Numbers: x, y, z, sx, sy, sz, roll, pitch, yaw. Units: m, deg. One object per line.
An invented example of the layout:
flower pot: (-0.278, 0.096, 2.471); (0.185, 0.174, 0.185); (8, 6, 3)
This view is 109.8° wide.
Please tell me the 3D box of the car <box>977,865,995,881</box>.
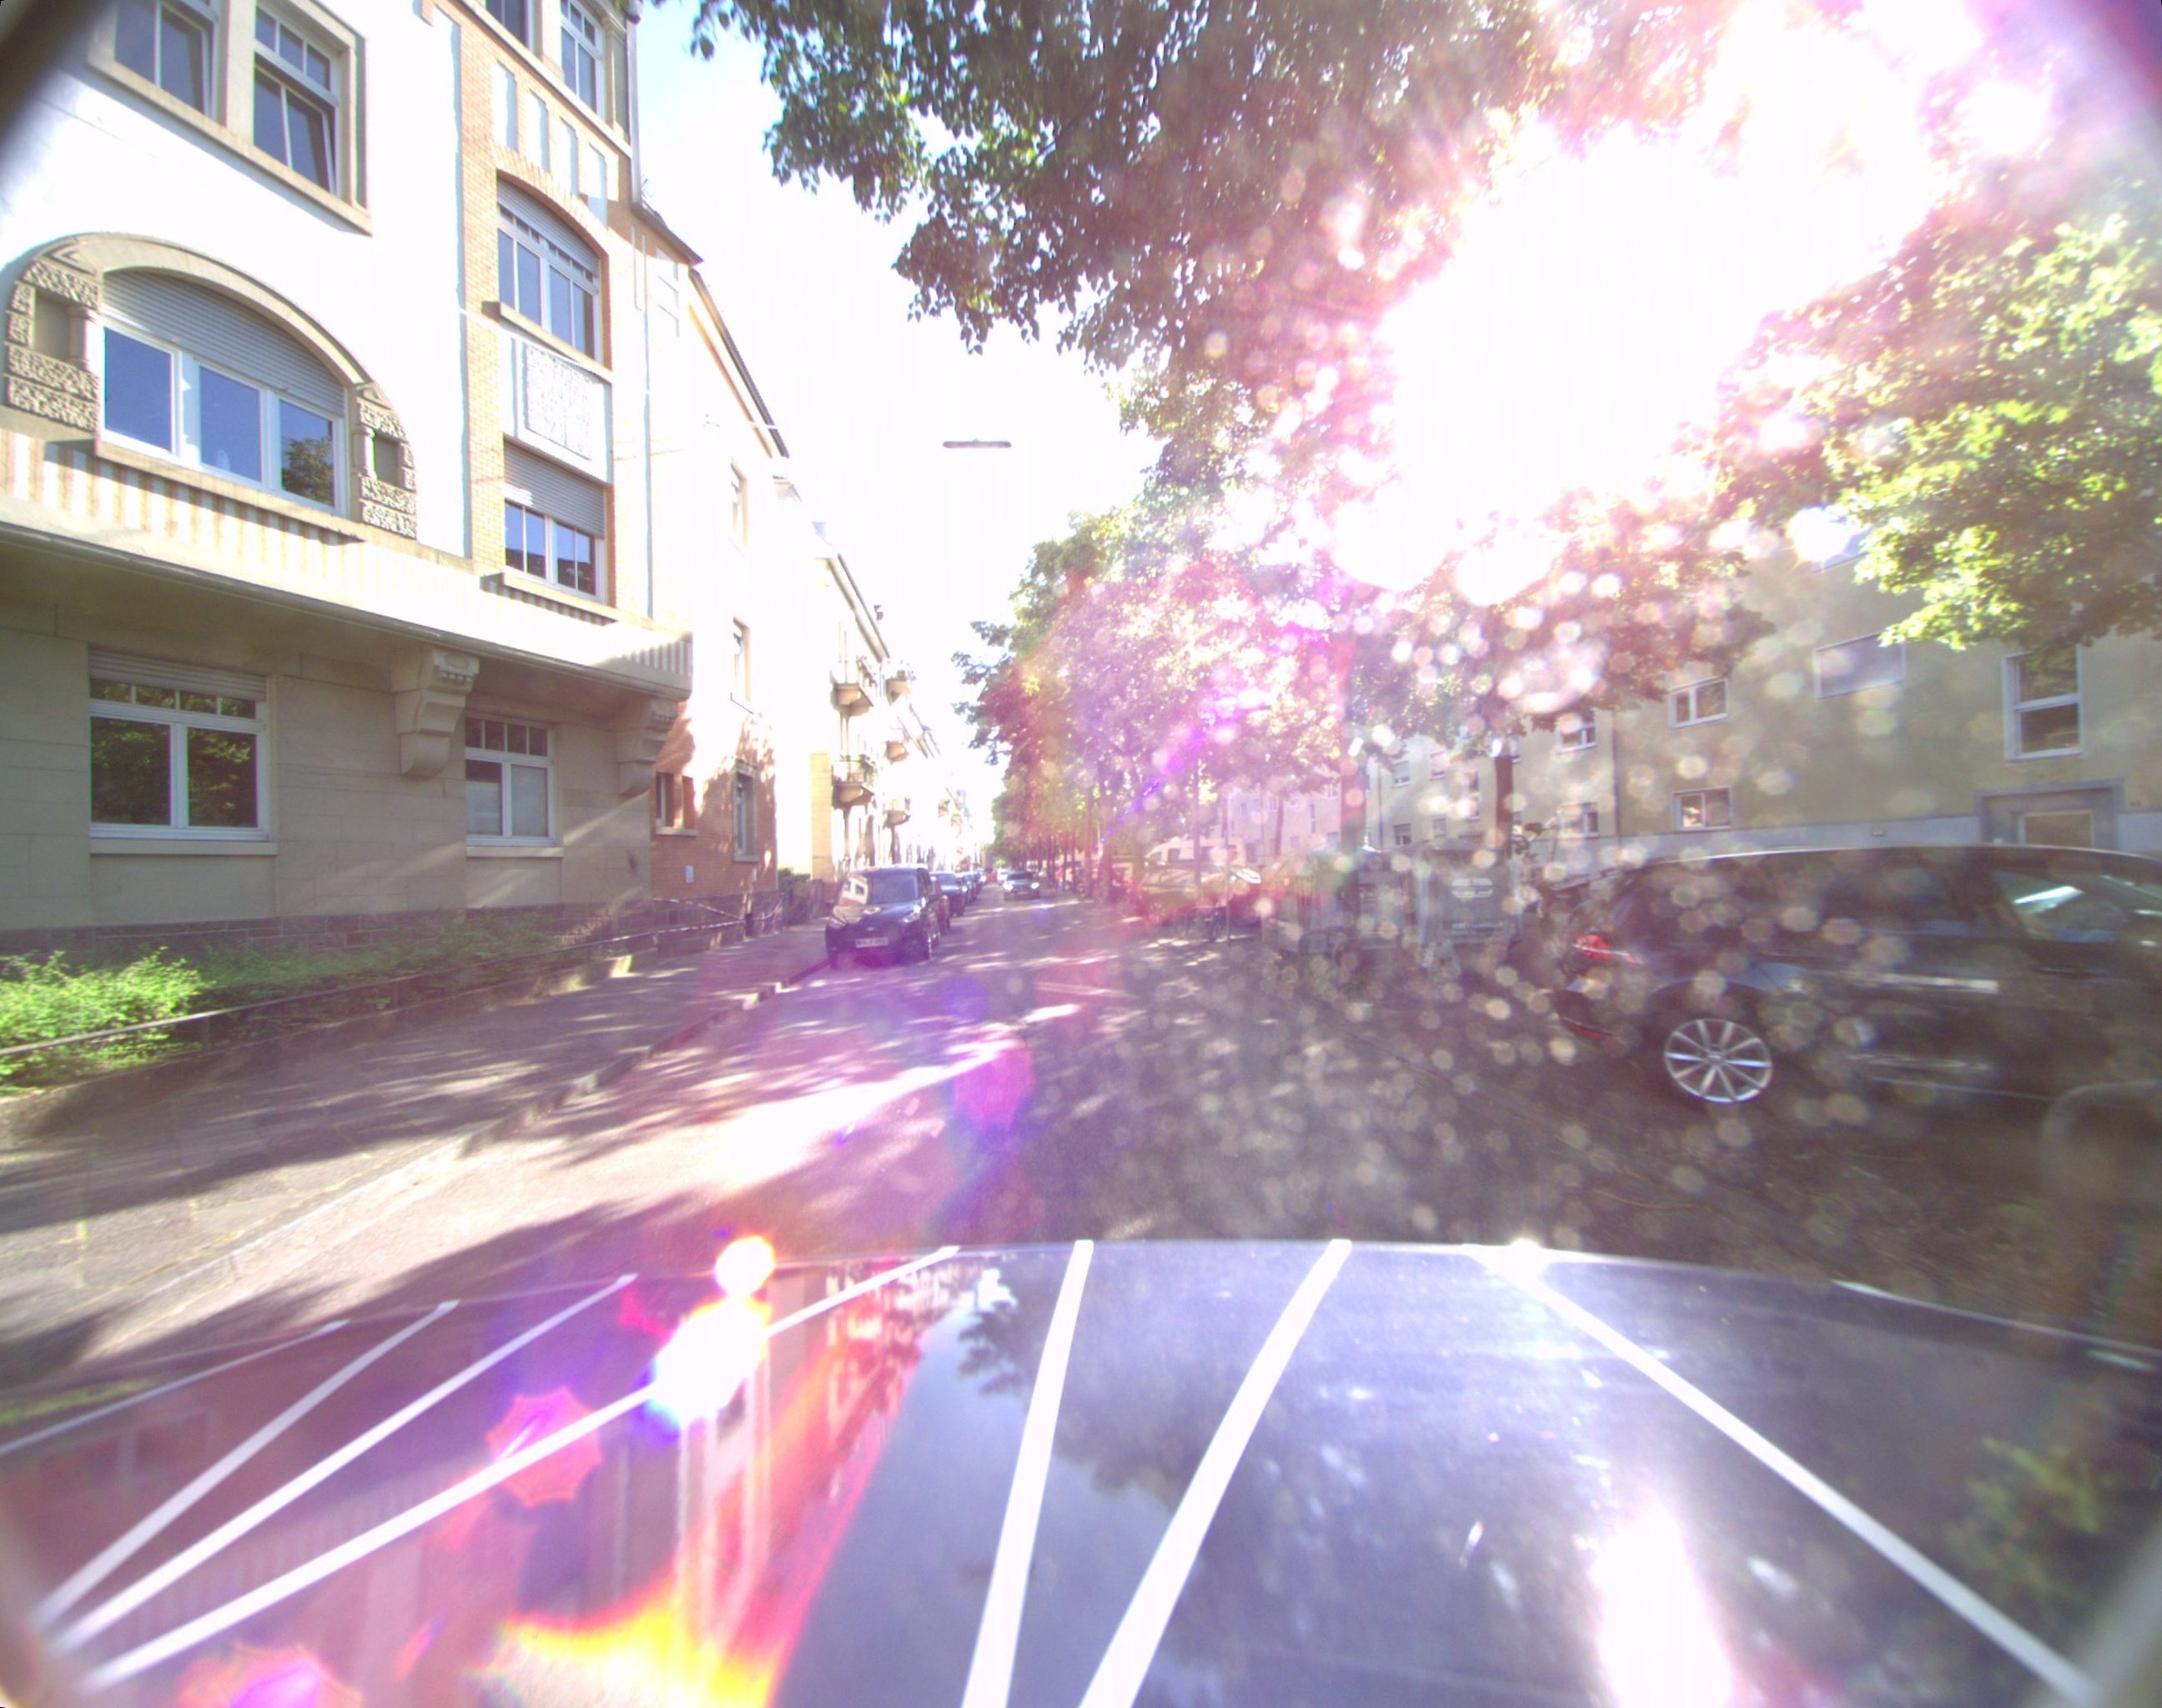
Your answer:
car: (-9.630, 1.912, 77.255); (1.604, 1.484, 3.965); (0, 0, -5)

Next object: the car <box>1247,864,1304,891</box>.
car: (11.808, 1.393, 46.402); (1.898, 1.556, 4.158); (0, -1, -8)

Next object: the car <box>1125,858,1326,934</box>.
car: (3.272, 0.921, 17.514); (4.143, 1.545, 1.837); (-2, 0, 35)

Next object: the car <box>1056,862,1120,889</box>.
car: (0.459, 1.400, 49.573); (3.687, 1.586, 1.775); (-3, 0, 19)

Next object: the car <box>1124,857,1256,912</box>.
car: (3.419, 0.953, 23.915); (3.729, 1.572, 1.639); (-2, 0, 25)

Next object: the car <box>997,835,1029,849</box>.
car: (-9.606, -1.646, 107.297); (4.092, 1.516, 1.705); (-6, -2, 24)

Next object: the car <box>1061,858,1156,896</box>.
car: (1.341, 1.129, 37.293); (4.266, 1.632, 1.658); (-4, 0, 26)

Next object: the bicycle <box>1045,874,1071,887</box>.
bicycle: (-1.790, 2.031, 58.991); (1.901, 0.913, 0.379); (-3, 0, 13)

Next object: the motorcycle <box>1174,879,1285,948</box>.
motorcycle: (2.711, 1.065, 13.909); (1.946, 1.164, 0.518); (-1, 0, -16)

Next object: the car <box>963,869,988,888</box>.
car: (-8.572, 1.964, 61.973); (1.775, 1.423, 4.289); (-2, -1, -6)

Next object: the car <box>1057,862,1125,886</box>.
car: (0.762, 1.450, 55.983); (4.633, 1.477, 1.758); (-3, 0, -21)

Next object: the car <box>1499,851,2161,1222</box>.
car: (4.690, 0.776, 4.048); (4.131, 1.473, 1.779); (-2, 1, 34)

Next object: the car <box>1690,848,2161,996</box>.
car: (9.433, 0.713, 8.470); (3.795, 1.457, 1.646); (-1, 0, 8)

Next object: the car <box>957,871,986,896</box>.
car: (-7.303, 1.929, 50.941); (1.697, 1.459, 4.003); (-3, 0, -6)

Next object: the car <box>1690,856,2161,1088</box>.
car: (7.065, 0.740, 5.451); (3.989, 1.394, 1.790); (-2, -1, 31)

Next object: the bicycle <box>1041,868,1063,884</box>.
bicycle: (-2.326, 1.750, 60.591); (1.688, 1.152, 0.379); (-3, 0, 13)

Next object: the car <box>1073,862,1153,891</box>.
car: (1.802, 1.267, 42.719); (4.099, 1.473, 1.735); (-2, 0, 25)

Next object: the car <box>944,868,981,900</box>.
car: (-6.298, 1.555, 40.810); (1.811, 1.554, 4.318); (-1, -1, -7)

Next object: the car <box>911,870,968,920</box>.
car: (-5.261, 1.477, 28.762); (1.870, 1.634, 4.488); (-3, 0, -9)

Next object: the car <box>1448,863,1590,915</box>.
car: (14.078, 1.077, 24.737); (1.779, 1.485, 4.143); (-2, 0, -8)

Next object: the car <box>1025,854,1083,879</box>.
car: (-3.180, 1.483, 89.607); (6.313, 2.543, 2.342); (-3, 0, 26)

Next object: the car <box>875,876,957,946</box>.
car: (-4.382, 1.450, 20.683); (1.650, 1.528, 3.998); (-5, 0, -6)

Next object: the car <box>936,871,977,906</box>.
car: (-5.836, 1.583, 35.927); (1.595, 1.406, 3.630); (-3, 0, -5)

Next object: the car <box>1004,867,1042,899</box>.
car: (-2.934, 1.445, 38.599); (1.793, 1.510, 3.999); (-1, -1, -4)

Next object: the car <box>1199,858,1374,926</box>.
car: (5.283, 0.970, 19.736); (4.095, 1.457, 1.869); (-4, -1, 15)

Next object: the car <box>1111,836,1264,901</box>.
car: (4.579, 0.690, 32.954); (6.069, 2.606, 2.461); (-1, -3, 30)

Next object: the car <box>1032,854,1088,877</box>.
car: (-1.690, 0.943, 62.153); (4.080, 1.643, 1.866); (-3, 0, 21)

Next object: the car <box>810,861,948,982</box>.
car: (-3.733, 1.154, 14.805); (1.807, 1.860, 4.271); (-5, 0, -6)

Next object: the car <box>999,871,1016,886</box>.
car: (-7.668, 2.508, 79.014); (1.612, 1.411, 4.566); (-1, -1, -7)

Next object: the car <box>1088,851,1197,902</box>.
car: (2.435, 0.899, 30.198); (3.841, 1.877, 1.847); (-3, -1, 30)

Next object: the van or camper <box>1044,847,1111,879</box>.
van or camper: (-0.364, 0.919, 77.376); (6.292, 2.808, 2.411); (-3, 0, 23)

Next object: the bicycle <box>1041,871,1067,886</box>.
bicycle: (-1.932, 1.768, 54.110); (1.813, 0.988, 0.426); (-2, 0, 13)
